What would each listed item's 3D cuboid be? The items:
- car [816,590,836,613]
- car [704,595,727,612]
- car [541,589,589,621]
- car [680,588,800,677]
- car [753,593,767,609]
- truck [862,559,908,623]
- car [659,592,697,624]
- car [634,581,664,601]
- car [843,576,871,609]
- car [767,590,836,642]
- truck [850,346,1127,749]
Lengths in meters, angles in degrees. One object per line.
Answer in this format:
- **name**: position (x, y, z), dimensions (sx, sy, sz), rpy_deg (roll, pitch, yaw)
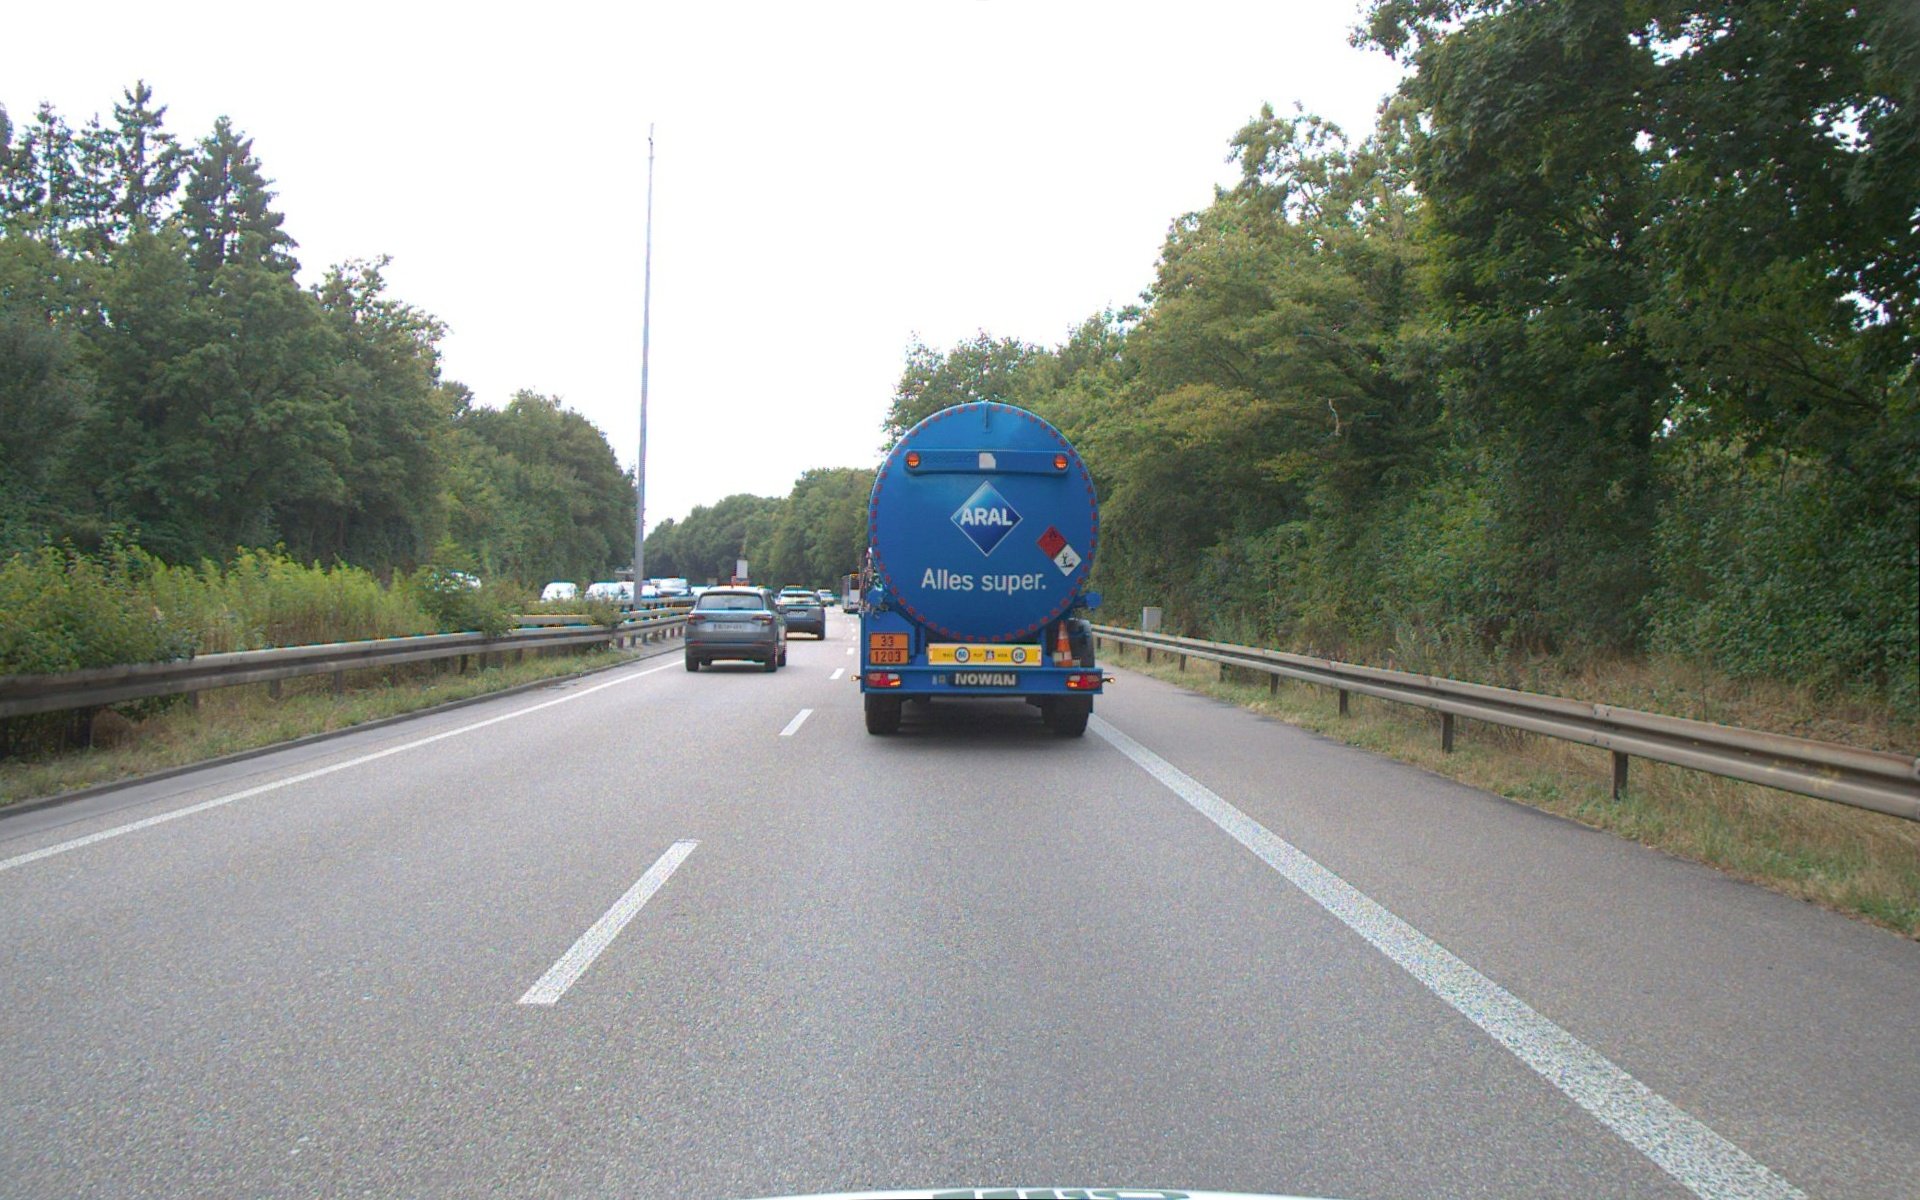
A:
- **car**: position (-13.669, 0.186, 168.670), dimensions (1.954, 2.284, 3.997), rpy_deg (0, 0, -4)
- **car**: position (-21.179, 0.291, 143.357), dimensions (1.678, 1.452, 4.053), rpy_deg (0, 0, -4)
- **car**: position (-19.297, 0.251, 80.838), dimensions (1.596, 1.534, 3.726), rpy_deg (0, 0, -3)
- **car**: position (-4.277, 0.613, 32.759), dimensions (1.789, 1.638, 4.167), rpy_deg (0, 0, 0)
- **car**: position (-28.209, 0.179, 233.259), dimensions (1.955, 2.284, 3.994), rpy_deg (0, 0, -6)
- **truck**: position (-3.906, -0.422, 84.703), dimensions (1.955, 3.147, 7.805), rpy_deg (0, 0, -5)
- **car**: position (-16.740, 0.484, 98.361), dimensions (1.756, 1.868, 4.953), rpy_deg (0, 0, -4)
- **car**: position (-23.139, -0.653, 123.216), dimensions (1.776, 1.475, 4.053), rpy_deg (0, 0, -4)
- **car**: position (-7.360, -0.523, 117.930), dimensions (1.954, 2.284, 3.996), rpy_deg (0, 0, -5)
- **car**: position (-5.110, 0.512, 53.838), dimensions (1.789, 1.638, 4.167), rpy_deg (0, 0, 0)
- **truck**: position (0.086, -0.485, 20.005), dimensions (2.700, 3.914, 7.683), rpy_deg (0, 0, -3)
